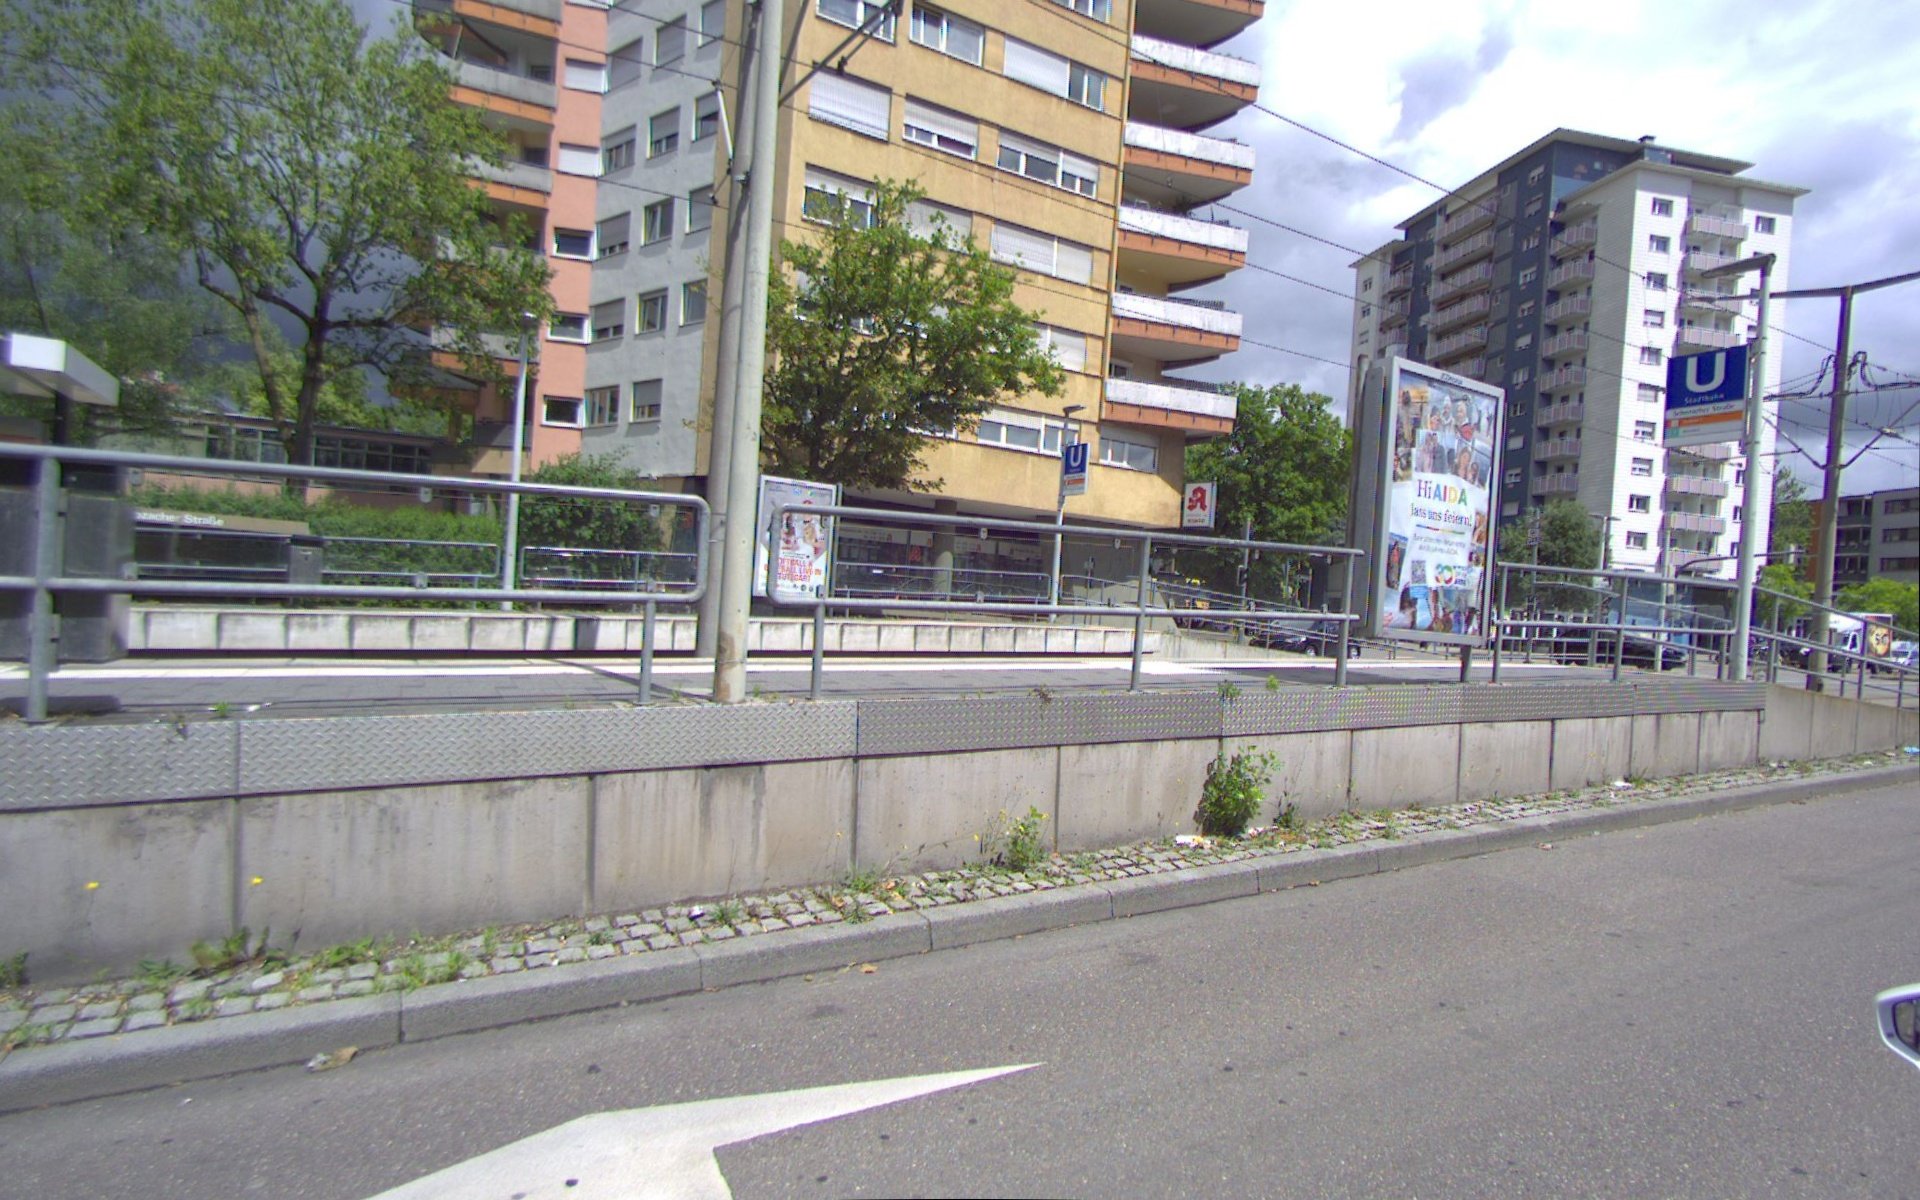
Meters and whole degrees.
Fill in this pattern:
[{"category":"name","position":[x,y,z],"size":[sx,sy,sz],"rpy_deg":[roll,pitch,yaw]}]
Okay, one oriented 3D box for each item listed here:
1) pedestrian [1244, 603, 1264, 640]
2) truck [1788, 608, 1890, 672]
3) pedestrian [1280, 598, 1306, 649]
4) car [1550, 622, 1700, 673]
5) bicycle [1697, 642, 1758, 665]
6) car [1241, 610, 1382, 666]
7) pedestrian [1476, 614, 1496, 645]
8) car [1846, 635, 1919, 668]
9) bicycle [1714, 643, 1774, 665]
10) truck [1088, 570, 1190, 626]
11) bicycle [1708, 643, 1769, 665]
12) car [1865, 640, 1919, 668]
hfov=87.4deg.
[{"category":"pedestrian","position":[11.901,0.859,40.656],"size":[0.541,1.459,0.497],"rpy_deg":[2,0,-19]},{"category":"truck","position":[46.743,2.129,53.368],"size":[7.244,3.159,2.267],"rpy_deg":[2,0,-34]},{"category":"pedestrian","position":[11.935,0.840,35.980],"size":[0.649,1.799,0.658],"rpy_deg":[2,0,-1]},{"category":"car","position":[22.903,1.598,34.685],"size":[1.833,1.506,3.952],"rpy_deg":[2,0,-40]},{"category":"bicycle","position":[41.579,2.904,54.455],"size":[2.521,1.022,0.754],"rpy_deg":[4,0,33]},{"category":"car","position":[9.710,1.042,27.671],"size":[3.820,1.424,1.571],"rpy_deg":[2,0,-30]},{"category":"pedestrian","position":[36.116,2.032,68.962],"size":[0.831,2.040,0.861],"rpy_deg":[2,0,-2]},{"category":"car","position":[63.799,3.534,69.141],"size":[3.846,2.001,1.657],"rpy_deg":[2,0,18]},{"category":"bicycle","position":[43.424,2.984,55.676],"size":[2.521,1.022,0.754],"rpy_deg":[4,0,33]},{"category":"truck","position":[7.990,-0.111,45.241],"size":[2.323,2.320,4.260],"rpy_deg":[2,0,-29]},{"category":"bicycle","position":[42.564,2.955,54.983],"size":[2.521,1.022,0.754],"rpy_deg":[4,0,33]},{"category":"car","position":[54.100,3.148,58.293],"size":[3.733,1.480,1.399],"rpy_deg":[2,0,-32]}]
